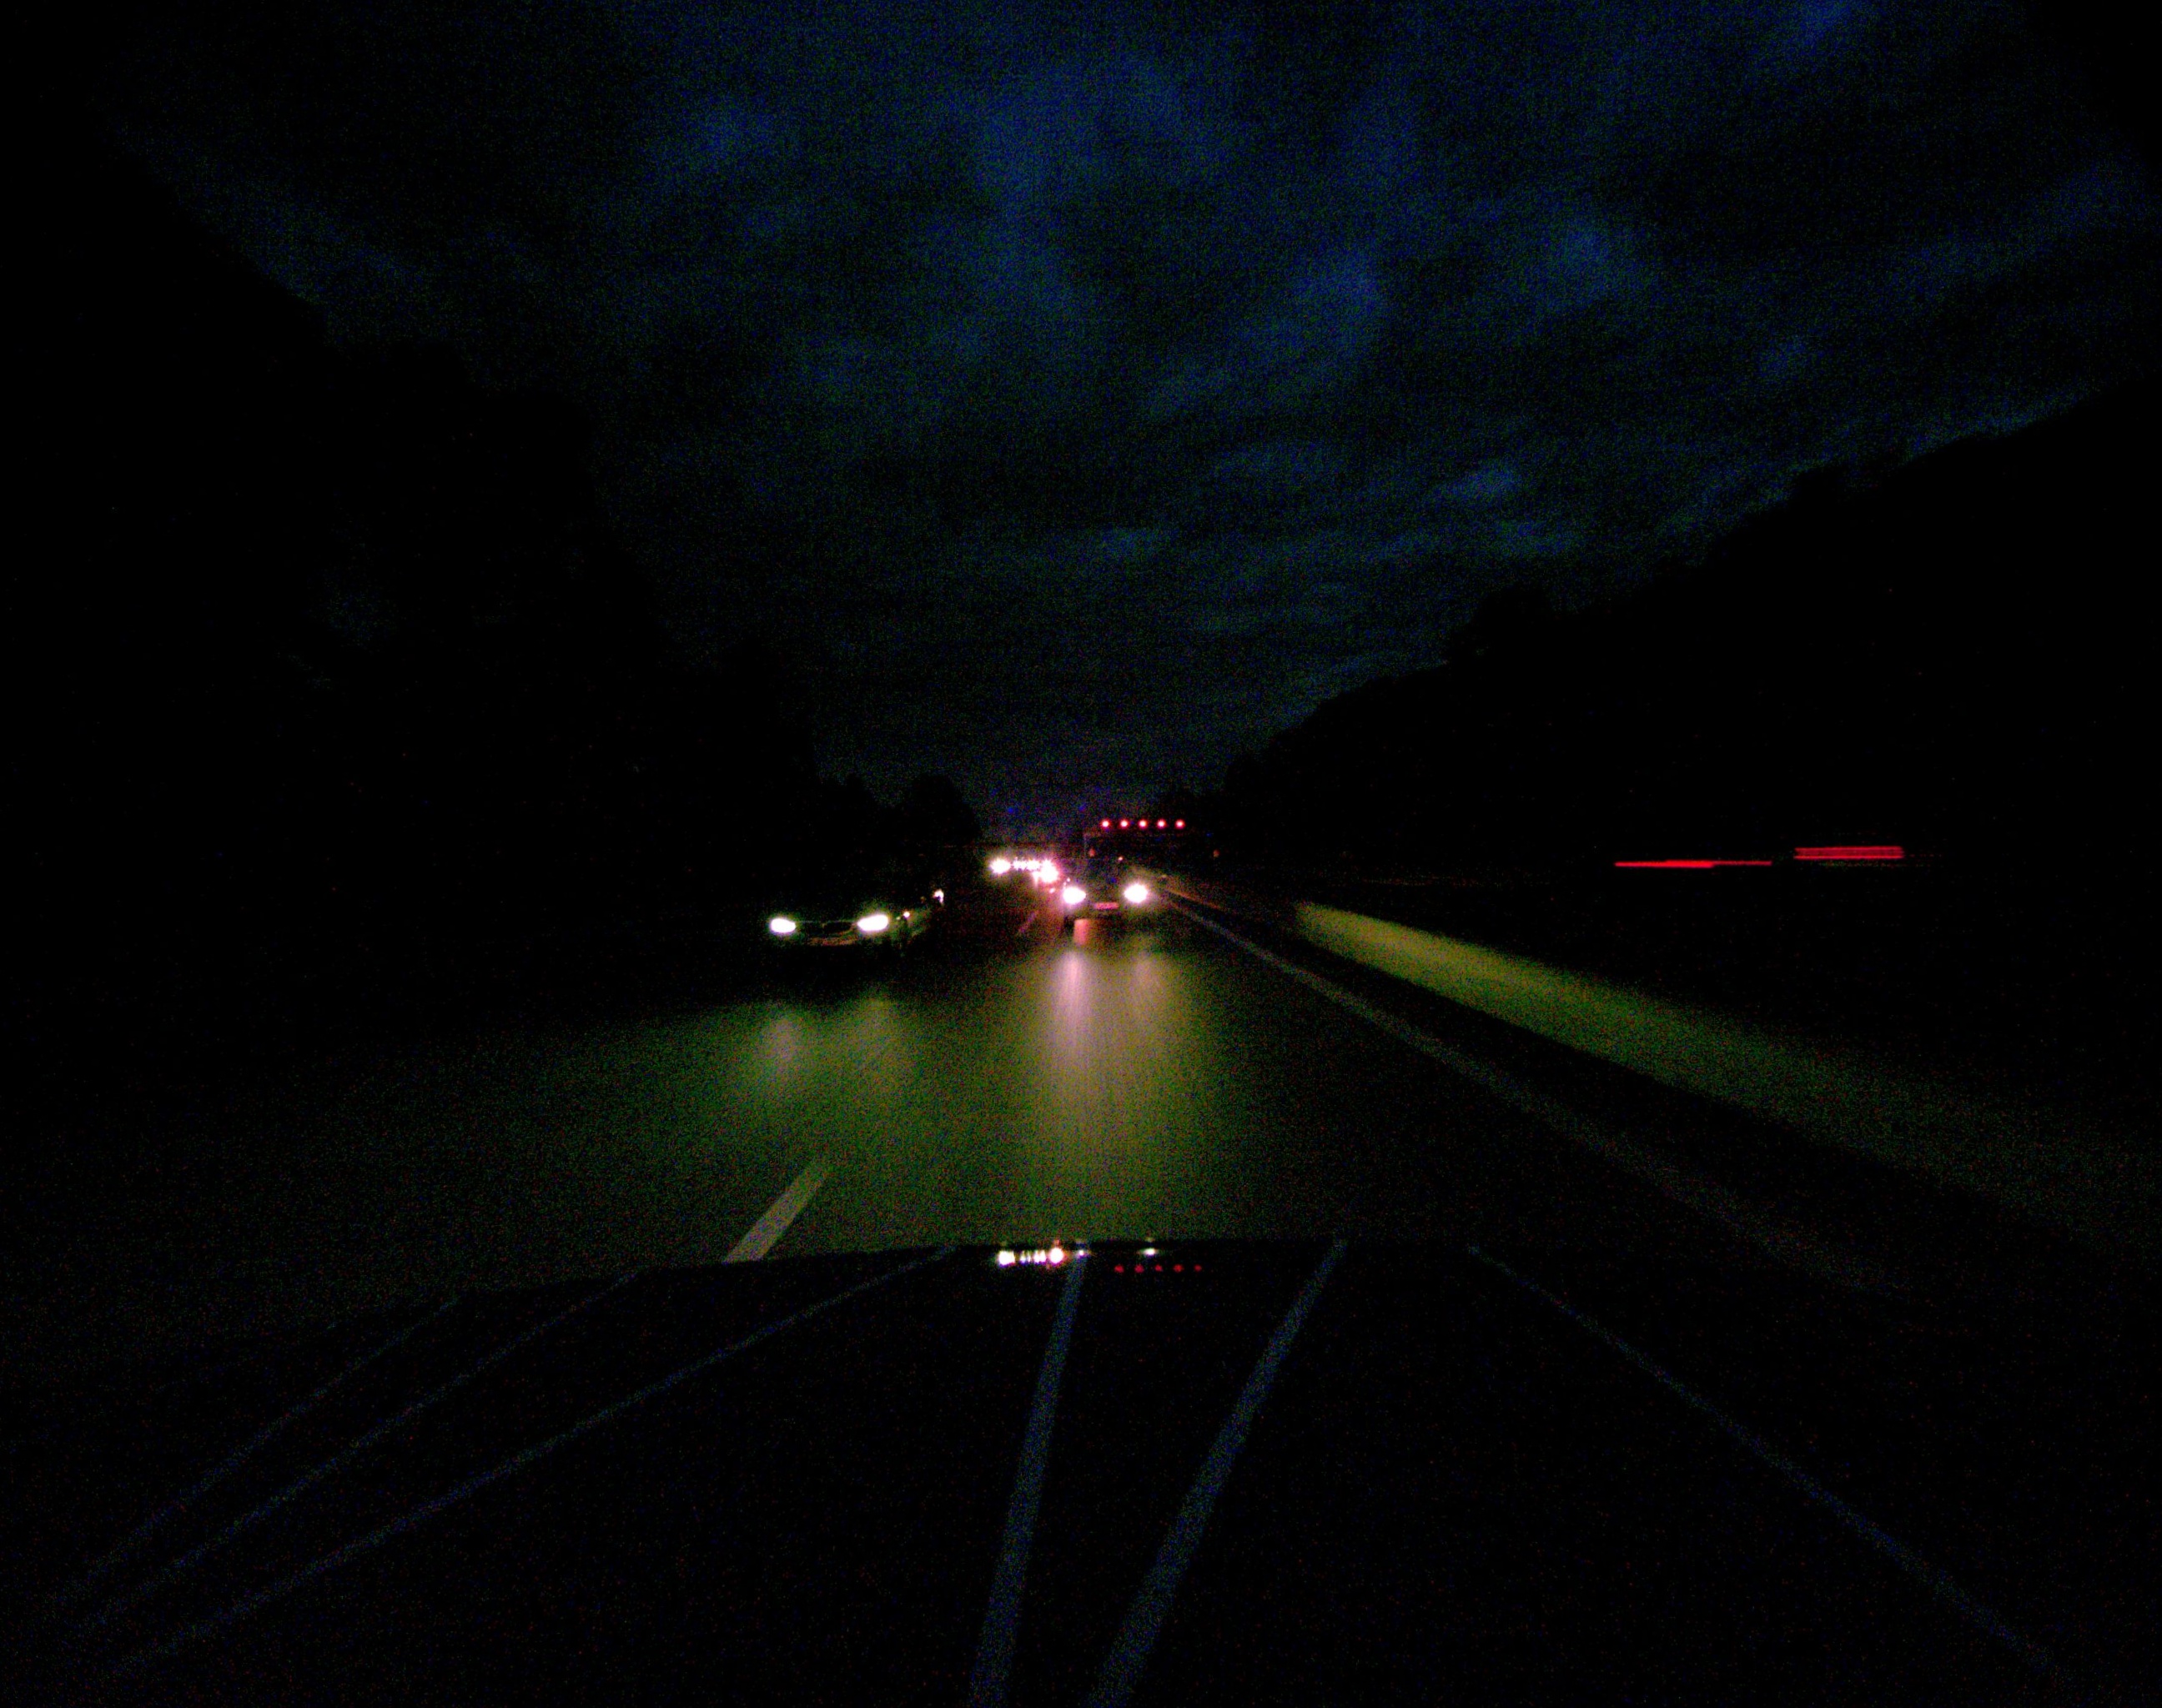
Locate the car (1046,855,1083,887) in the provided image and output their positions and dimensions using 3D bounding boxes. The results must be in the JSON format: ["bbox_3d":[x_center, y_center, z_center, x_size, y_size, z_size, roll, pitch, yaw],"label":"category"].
[{"bbox_3d":[-0.849,0.874,40.876,1.813,1.458,5.131,-1,1,0],"label":"car"}]

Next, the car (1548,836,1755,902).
[{"bbox_3d":[14.856,0.358,20.212,1.847,1.455,4.776,-3,0,0],"label":"car"}]

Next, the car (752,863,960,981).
[{"bbox_3d":[-3.564,0.980,13.232,1.914,1.528,5.231,-1,0,1],"label":"car"}]

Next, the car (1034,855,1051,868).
[{"bbox_3d":[-4.814,0.936,93.677,1.999,1.539,3.999,-1,-1,-4],"label":"car"}]

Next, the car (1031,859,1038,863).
[{"bbox_3d":[-15.660,2.302,256.856,1.820,1.372,4.195,-2,0,-9],"label":"car"}]

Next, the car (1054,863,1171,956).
[{"bbox_3d":[0.505,0.930,14.692,1.880,1.435,4.450,-1,0,0],"label":"car"}]

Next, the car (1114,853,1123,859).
[{"bbox_3d":[8.958,0.499,181.587,1.623,1.397,4.314,-1,0,-2],"label":"car"}]

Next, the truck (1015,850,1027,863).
[{"bbox_3d":[-20.207,0.953,255.670,3.147,3.986,10.537,-1,-1,-9],"label":"truck"}]

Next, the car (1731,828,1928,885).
[{"bbox_3d":[21.966,0.081,22.557,1.847,1.455,4.000,-3,0,-1],"label":"car"}]
